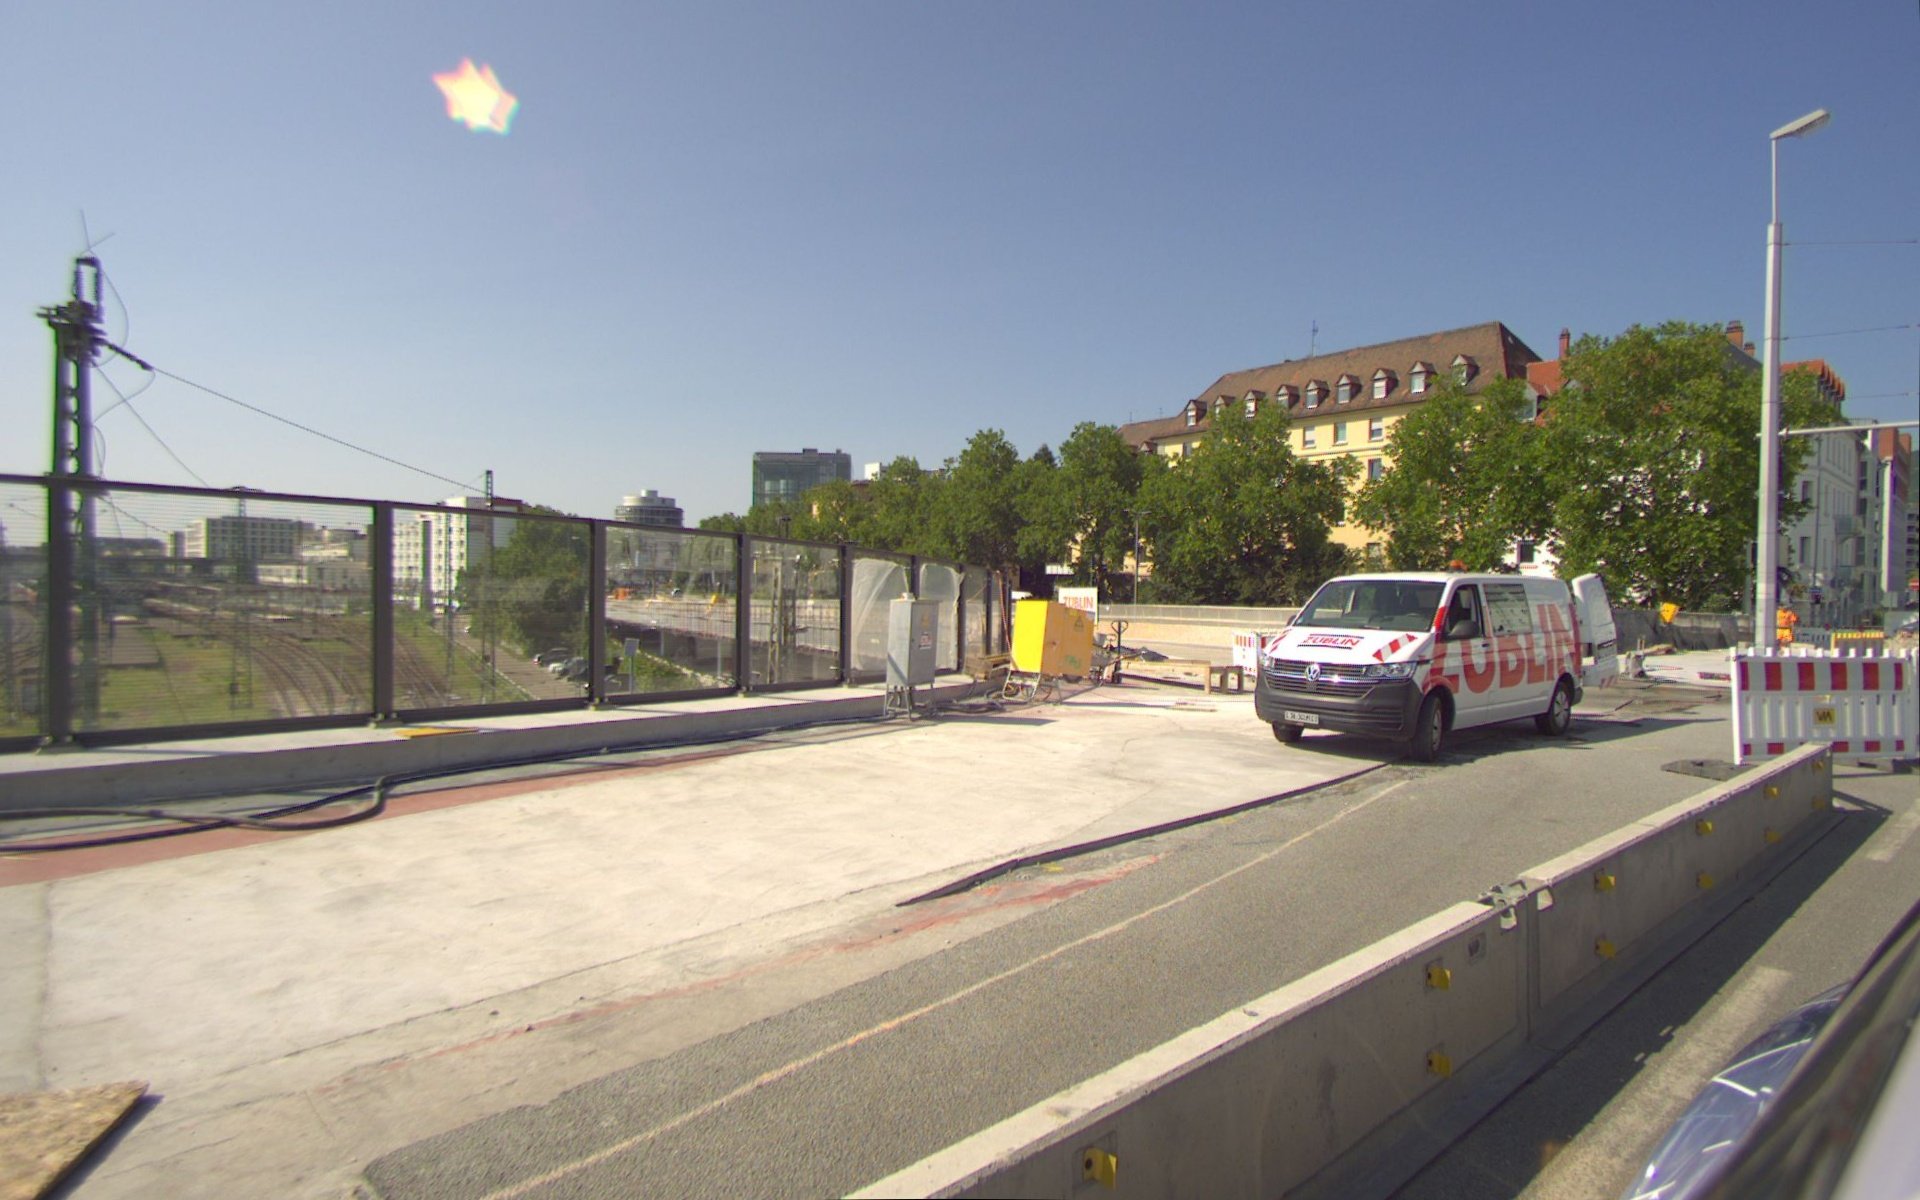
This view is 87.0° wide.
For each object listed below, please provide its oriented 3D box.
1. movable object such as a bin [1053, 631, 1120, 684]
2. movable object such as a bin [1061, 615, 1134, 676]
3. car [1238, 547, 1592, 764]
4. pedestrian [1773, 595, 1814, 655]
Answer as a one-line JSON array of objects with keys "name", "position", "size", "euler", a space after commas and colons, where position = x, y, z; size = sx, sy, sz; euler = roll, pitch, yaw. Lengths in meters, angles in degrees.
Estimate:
[{"name": "movable object such as a bin", "position": [2.366, 1.074, 19.060], "size": [1.084, 0.853, 0.757], "euler": [4, 0, -1]}, {"name": "movable object such as a bin", "position": [2.754, 0.924, 20.539], "size": [0.595, 1.144, 2.045], "euler": [-2, -2, -18]}, {"name": "car", "position": [5.491, 0.516, 11.898], "size": [4.803, 2.059, 1.883], "euler": [0, 0, -39]}, {"name": "pedestrian", "position": [26.292, 0.780, 31.924], "size": [0.849, 1.817, 0.821], "euler": [1, 2, -42]}]
